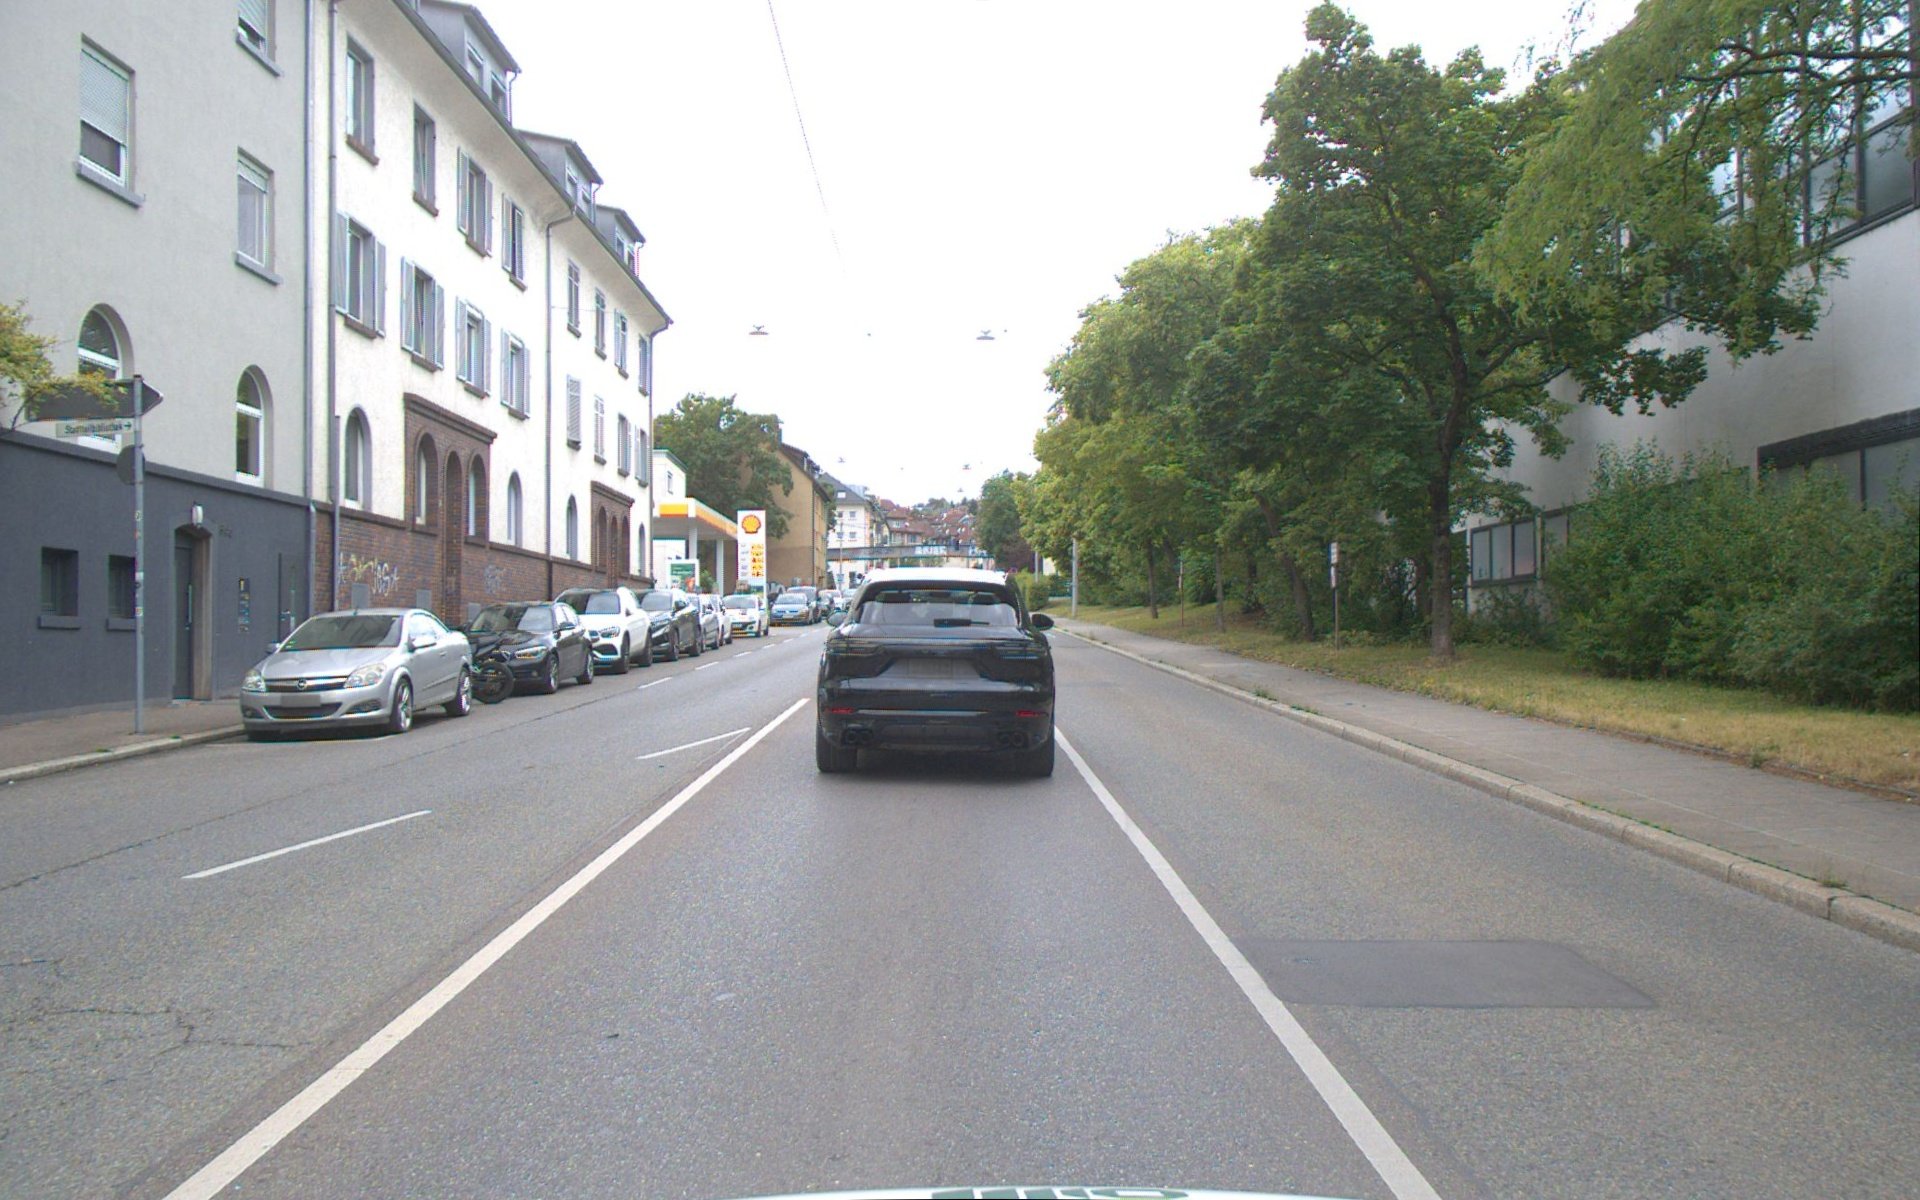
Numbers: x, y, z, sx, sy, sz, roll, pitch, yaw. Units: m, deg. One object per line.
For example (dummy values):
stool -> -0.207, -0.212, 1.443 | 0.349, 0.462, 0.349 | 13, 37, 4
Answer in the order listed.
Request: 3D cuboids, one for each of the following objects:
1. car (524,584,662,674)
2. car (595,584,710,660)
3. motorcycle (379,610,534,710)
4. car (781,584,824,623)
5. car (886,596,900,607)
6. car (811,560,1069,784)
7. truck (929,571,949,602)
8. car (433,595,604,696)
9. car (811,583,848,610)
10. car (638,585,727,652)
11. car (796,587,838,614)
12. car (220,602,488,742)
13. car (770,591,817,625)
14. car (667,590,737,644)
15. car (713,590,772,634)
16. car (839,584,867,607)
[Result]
car -> -7.281, 0.523, 33.239 | 1.808, 1.649, 4.642 | -1, 1, -1
car -> -7.076, 0.468, 38.478 | 1.691, 1.627, 4.503 | -1, 1, 2
motorcycle -> -7.087, 0.829, 23.312 | 2.009, 1.256, 0.803 | -3, 1, -19
car -> -7.761, 0.152, 81.983 | 1.814, 1.867, 4.700 | -1, 0, -2
car -> -9.406, 0.180, 232.084 | 1.729, 1.534, 4.000 | 0, 0, 0
car -> -0.160, 0.517, 14.557 | 1.953, 1.691, 4.000 | 0, 1, 0
truck -> -2.380, -1.501, 188.489 | 2.220, 3.484, 9.876 | 0, 0, -1
car -> -7.052, 0.674, 26.828 | 1.692, 1.454, 4.191 | -1, 1, -1
car -> -8.031, -0.221, 102.289 | 1.876, 1.605, 4.699 | -1, 0, 0
car -> -7.284, 0.457, 43.741 | 1.692, 1.585, 4.080 | -3, 0, -1
car -> -8.036, 0.025, 93.320 | 1.760, 1.456, 4.744 | -1, 0, 2
car -> -7.043, 0.767, 19.702 | 1.692, 1.398, 4.336 | -1, 1, -2
car -> -7.636, 0.366, 76.094 | 1.754, 1.475, 4.217 | -1, 0, -1
car -> -7.550, 0.477, 48.669 | 1.516, 1.501, 3.603 | -1, 0, -1
car -> -7.584, 0.386, 57.926 | 1.586, 1.450, 3.665 | -1, 1, 0
car -> -8.008, -0.327, 124.259 | 1.746, 1.637, 4.265 | -3, 0, 1
